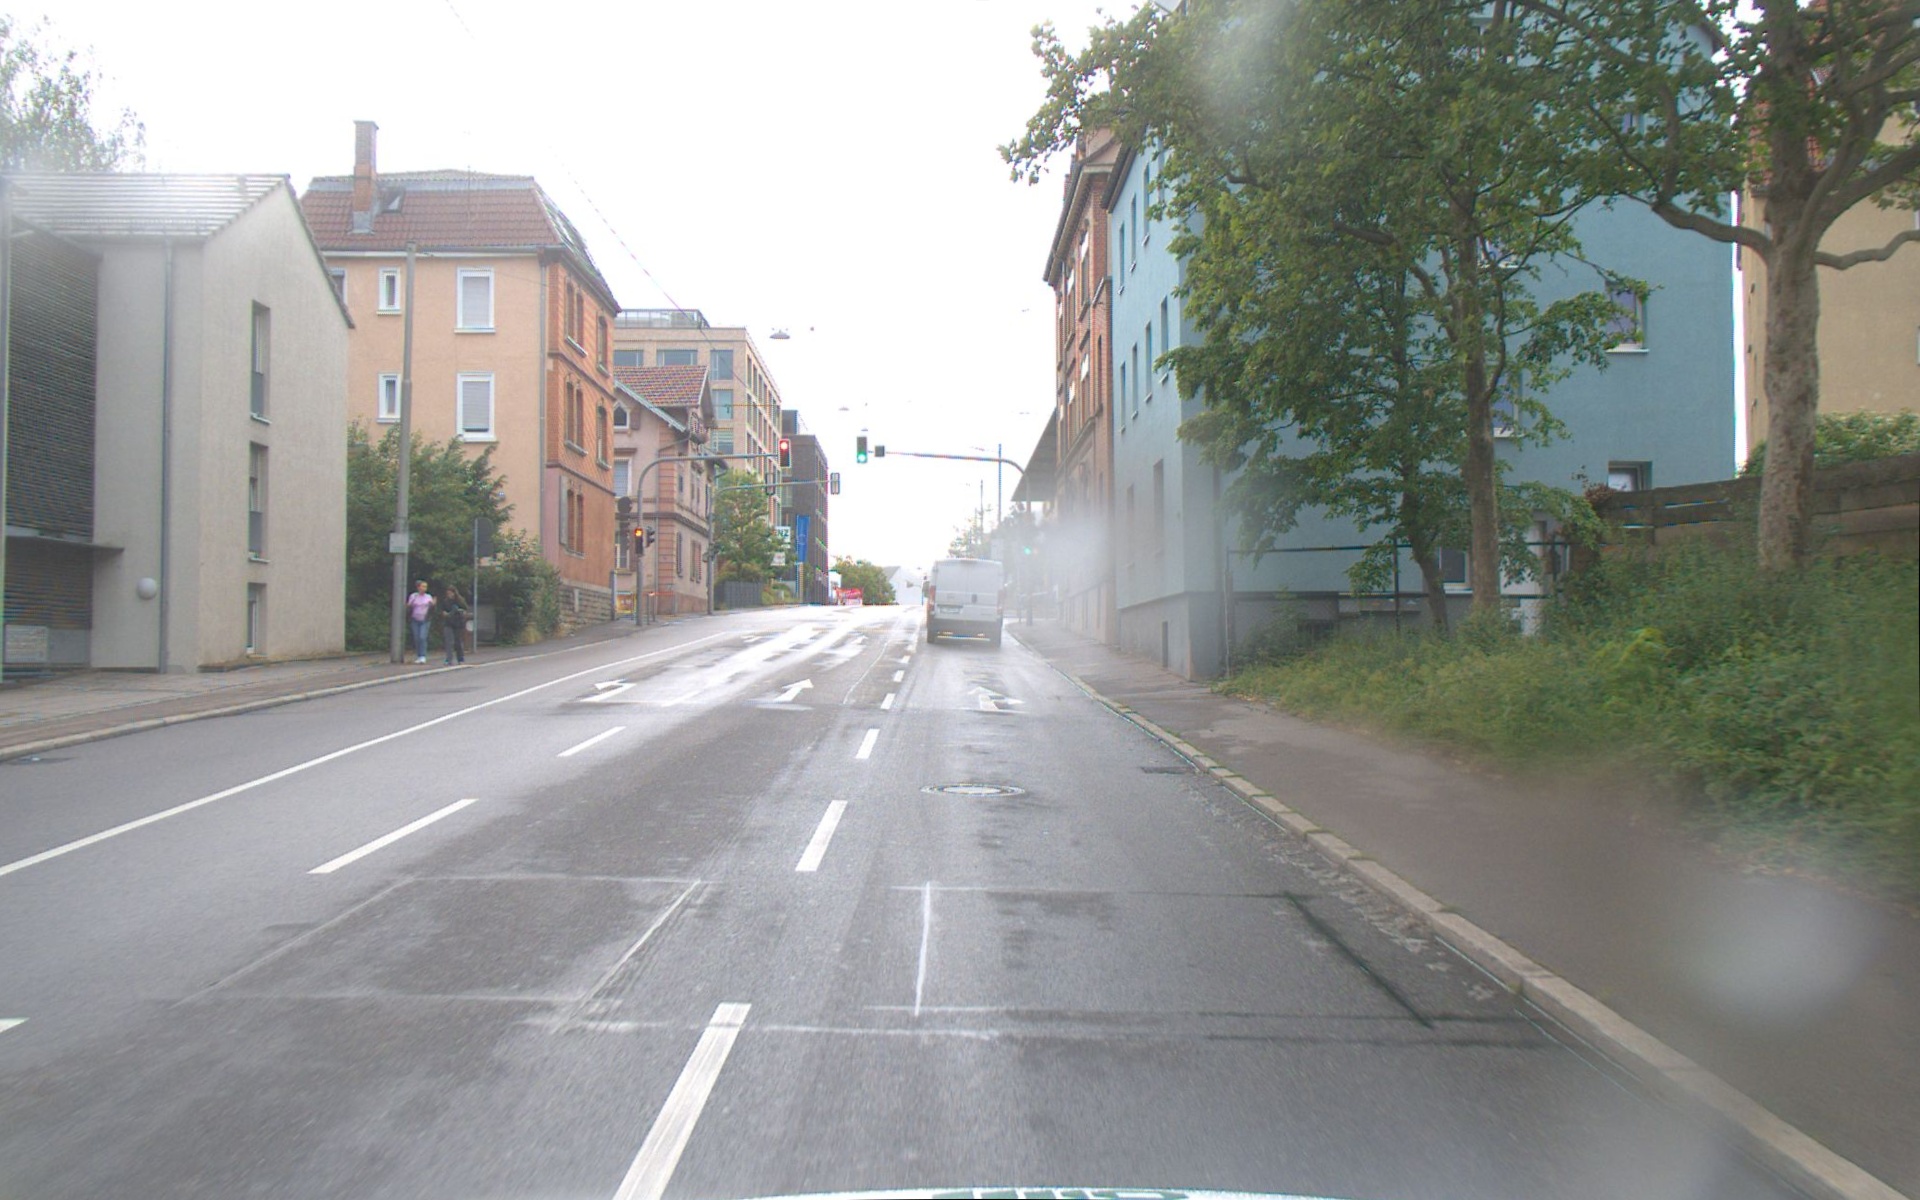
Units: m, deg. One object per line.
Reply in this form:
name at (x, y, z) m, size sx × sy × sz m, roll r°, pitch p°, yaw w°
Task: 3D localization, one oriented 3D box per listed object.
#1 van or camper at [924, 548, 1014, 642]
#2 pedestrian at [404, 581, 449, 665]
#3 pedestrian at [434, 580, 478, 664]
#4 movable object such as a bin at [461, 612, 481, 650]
van or camper at (0.222, -0.120, 45.433) m, size 2.292 × 2.398 × 5.199 m, roll 1°, pitch 0°, yaw 0°
pedestrian at (-11.184, 0.481, 34.688) m, size 0.627 × 1.736 × 0.911 m, roll 0°, pitch 0°, yaw 0°
pedestrian at (-10.509, 0.452, 34.524) m, size 0.627 × 1.736 × 0.911 m, roll 0°, pitch 0°, yaw 0°
movable object such as a bin at (-12.295, 0.780, 41.587) m, size 0.401 × 0.941 × 0.525 m, roll 1°, pitch 0°, yaw -8°
